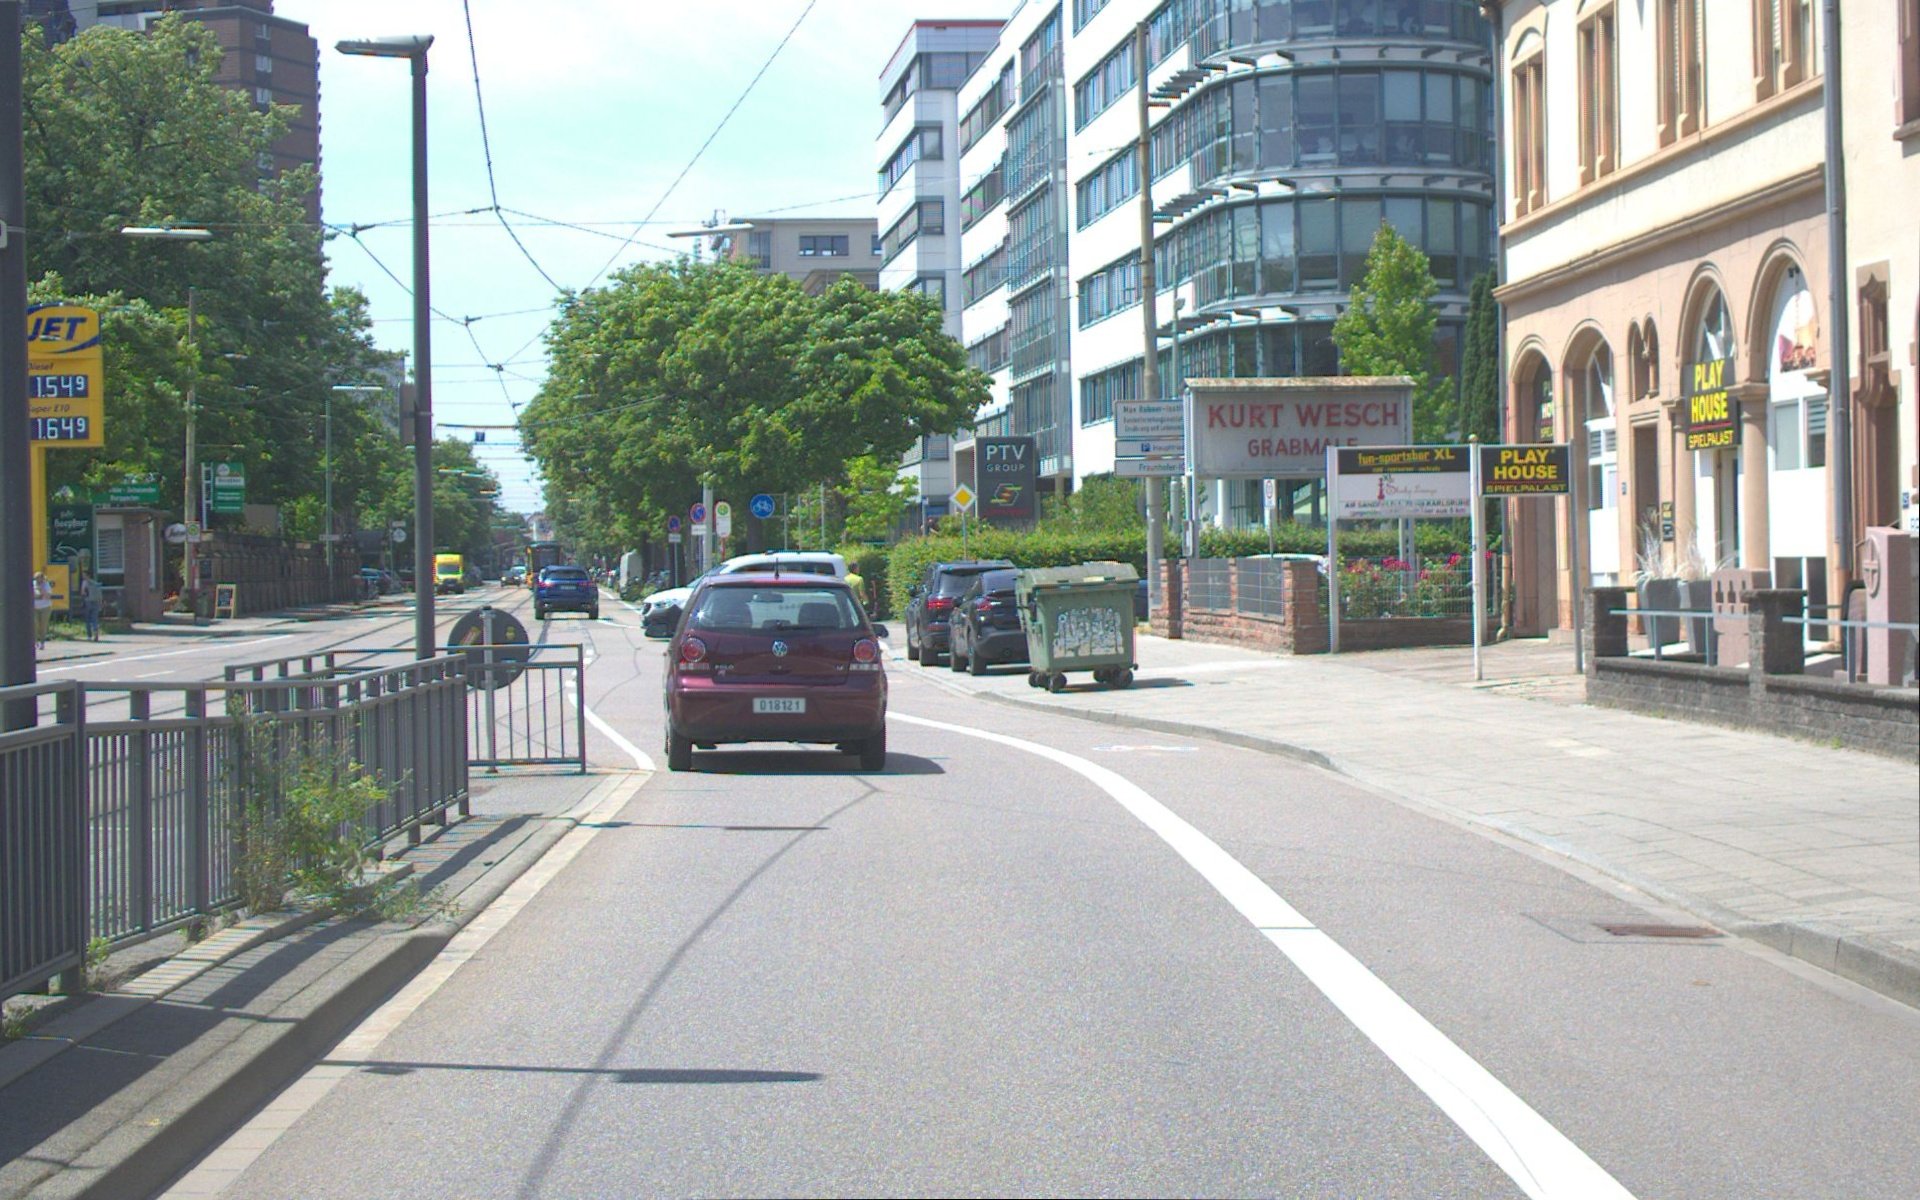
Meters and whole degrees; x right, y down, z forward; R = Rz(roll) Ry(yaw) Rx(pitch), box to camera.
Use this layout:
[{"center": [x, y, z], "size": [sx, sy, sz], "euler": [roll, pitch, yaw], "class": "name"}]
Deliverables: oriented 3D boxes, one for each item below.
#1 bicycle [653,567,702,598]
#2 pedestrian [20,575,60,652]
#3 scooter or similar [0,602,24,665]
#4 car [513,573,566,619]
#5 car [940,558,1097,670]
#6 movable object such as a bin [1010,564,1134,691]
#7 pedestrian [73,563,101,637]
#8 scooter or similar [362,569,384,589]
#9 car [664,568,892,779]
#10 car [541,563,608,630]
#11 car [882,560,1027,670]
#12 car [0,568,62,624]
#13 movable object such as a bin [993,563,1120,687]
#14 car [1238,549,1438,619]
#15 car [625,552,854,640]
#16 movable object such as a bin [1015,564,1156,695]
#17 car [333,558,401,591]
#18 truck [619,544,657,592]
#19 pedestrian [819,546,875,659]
[{"center": [-11.127, -0.690, 135.495], "size": [1.883, 1.178, 0.694], "euler": [-2, 0, -6], "class": "bicycle"}, {"center": [-20.273, 0.294, 75.754], "size": [0.625, 1.685, 0.722], "euler": [-1, 1, 5], "class": "pedestrian"}, {"center": [-18.666, 0.642, 67.304], "size": [0.518, 1.196, 1.377], "euler": [0, 1, -9], "class": "scooter or similar"}, {"center": [-16.874, -0.176, 137.990], "size": [1.993, 1.733, 4.001], "euler": [-1, 1, -6], "class": "car"}, {"center": [0.838, 0.201, 51.968], "size": [1.772, 1.543, 4.468], "euler": [-3, 0, -6], "class": "car"}, {"center": [1.357, 0.320, 41.730], "size": [1.247, 1.450, 1.058], "euler": [-3, 1, -9], "class": "movable object such as a bin"}, {"center": [-21.006, -0.013, 82.718], "size": [0.580, 1.769, 0.700], "euler": [0, 1, -10], "class": "pedestrian"}, {"center": [-32.771, -1.176, 192.050], "size": [1.088, 1.151, 0.527], "euler": [0, 1, -27], "class": "scooter or similar"}, {"center": [-1.382, 0.507, 26.612], "size": [1.619, 1.481, 4.000], "euler": [1, 1, -2], "class": "car"}, {"center": [-11.877, -0.129, 105.713], "size": [1.993, 2.007, 4.001], "euler": [0, 1, -7], "class": "car"}, {"center": [-0.140, 0.217, 57.852], "size": [1.924, 1.687, 5.083], "euler": [-3, 1, -5], "class": "car"}, {"center": [-26.753, -0.121, 93.289], "size": [1.933, 1.483, 4.443], "euler": [1, 1, 33], "class": "car"}, {"center": [1.193, 0.301, 42.851], "size": [1.323, 1.450, 1.058], "euler": [-3, 1, -9], "class": "movable object such as a bin"}, {"center": [8.359, -0.360, 76.227], "size": [4.148, 1.454, 1.818], "euler": [-1, 1, -3], "class": "car"}, {"center": [-4.686, -0.100, 72.874], "size": [4.536, 1.793, 2.001], "euler": [-1, 1, -14], "class": "car"}, {"center": [1.472, 0.332, 40.622], "size": [1.391, 1.450, 1.139], "euler": [-3, 1, -9], "class": "movable object such as a bin"}, {"center": [-37.715, -1.624, 218.679], "size": [3.986, 2.007, 2.000], "euler": [-1, 1, -2], "class": "car"}, {"center": [-18.463, -1.839, 196.932], "size": [1.993, 2.653, 4.876], "euler": [0, 1, -7], "class": "truck"}, {"center": [-1.986, 0.042, 60.403], "size": [0.780, 1.953, 0.590], "euler": [-1, 1, -21], "class": "pedestrian"}]
